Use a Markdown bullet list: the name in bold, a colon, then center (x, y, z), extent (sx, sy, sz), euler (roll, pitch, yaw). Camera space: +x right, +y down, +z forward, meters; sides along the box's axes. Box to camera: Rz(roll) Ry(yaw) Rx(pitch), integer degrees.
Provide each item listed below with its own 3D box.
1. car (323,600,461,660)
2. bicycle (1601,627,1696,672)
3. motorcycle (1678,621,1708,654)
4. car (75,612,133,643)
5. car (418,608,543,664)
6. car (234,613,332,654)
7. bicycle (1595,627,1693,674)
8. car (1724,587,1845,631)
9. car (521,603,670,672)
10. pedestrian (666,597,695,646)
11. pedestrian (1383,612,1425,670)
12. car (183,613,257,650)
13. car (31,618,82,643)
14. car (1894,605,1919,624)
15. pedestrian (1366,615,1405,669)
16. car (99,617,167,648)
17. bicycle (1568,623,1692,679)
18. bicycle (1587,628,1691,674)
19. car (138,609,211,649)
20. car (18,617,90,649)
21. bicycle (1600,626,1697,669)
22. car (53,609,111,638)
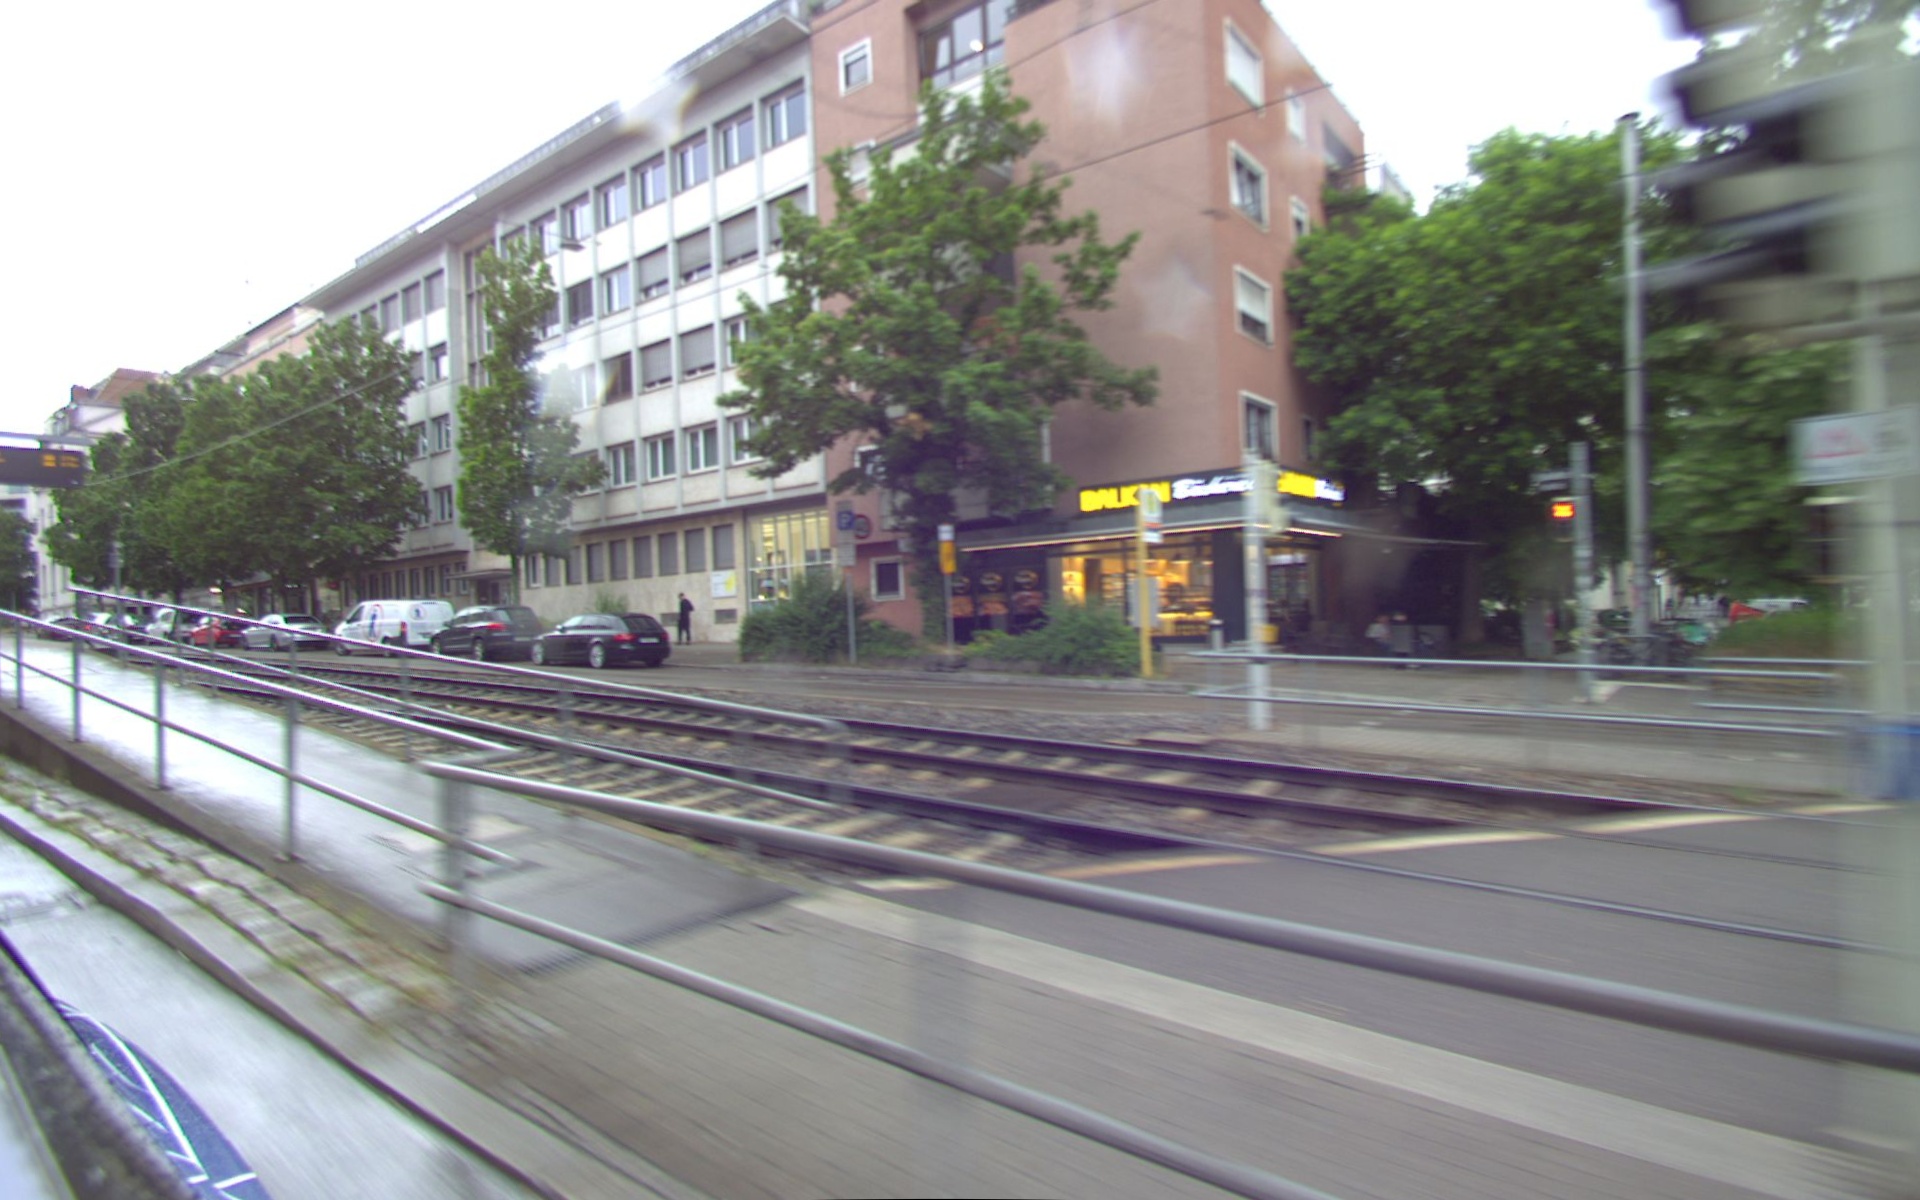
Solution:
- **car**: center (-18.976, 0.946, 33.742), extent (5.244, 1.858, 1.891), euler (0, 0, 34)
- **bicycle**: center (14.691, 1.040, 21.626), extent (1.646, 0.910, 0.335), euler (-1, -1, 41)
- **motorcycle**: center (23.343, 1.169, 32.209), extent (0.746, 1.015, 1.833), euler (-1, -1, 37)
- **car**: center (-46.014, 1.452, 54.386), extent (4.017, 1.549, 1.623), euler (-1, 0, 39)
- **car**: center (-14.239, 1.021, 29.964), extent (4.366, 1.548, 1.623), euler (-1, 0, 39)
- **car**: center (-26.267, 1.259, 39.200), extent (4.520, 1.473, 1.677), euler (0, 0, 35)
- **bicycle**: center (14.113, 1.019, 20.896), extent (1.646, 0.917, 0.335), euler (-1, -1, 41)
- **car**: center (43.978, 0.488, 54.125), extent (4.854, 2.226, 1.885), euler (-1, -1, 37)
- **car**: center (-9.545, 0.918, 26.346), extent (4.366, 1.636, 1.623), euler (-1, 0, 39)
- **pedestrian**: center (-9.033, 0.701, 32.752), extent (0.583, 1.569, 0.693), euler (-1, -1, 32)
- **pedestrian**: center (9.261, 0.847, 21.114), extent (0.608, 1.187, 0.668), euler (-1, -1, 43)
- **car**: center (-32.411, 1.347, 44.307), extent (3.797, 1.551, 1.623), euler (-1, 0, 37)
- **car**: center (-55.357, 1.839, 61.984), extent (4.453, 1.386, 1.697), euler (-1, 0, 40)
- **car**: center (69.342, 1.051, 73.452), extent (1.998, 1.384, 3.947), euler (-1, -1, 40)
- **pedestrian**: center (9.504, 0.928, 22.610), extent (0.601, 1.187, 0.677), euler (-1, -1, 6)
- **car**: center (-41.822, 1.606, 51.131), extent (4.722, 1.451, 1.623), euler (0, 0, 37)
- **bicycle**: center (12.352, 0.918, 18.698), extent (1.871, 0.966, 0.475), euler (-1, -1, 38)
- **bicycle**: center (13.076, 0.969, 19.515), extent (1.644, 0.822, 0.336), euler (-1, -1, 38)
- **car**: center (-37.163, 1.334, 47.832), extent (4.425, 1.831, 1.658), euler (-1, 0, 37)
- **car**: center (-44.489, 1.565, 49.676), extent (4.520, 1.473, 1.677), euler (0, 0, 35)
- **bicycle**: center (14.402, 0.985, 21.203), extent (1.646, 0.849, 0.334), euler (-1, -1, 41)
- **car**: center (-50.666, 1.335, 58.363), extent (4.330, 1.596, 1.642), euler (-1, 0, 37)
